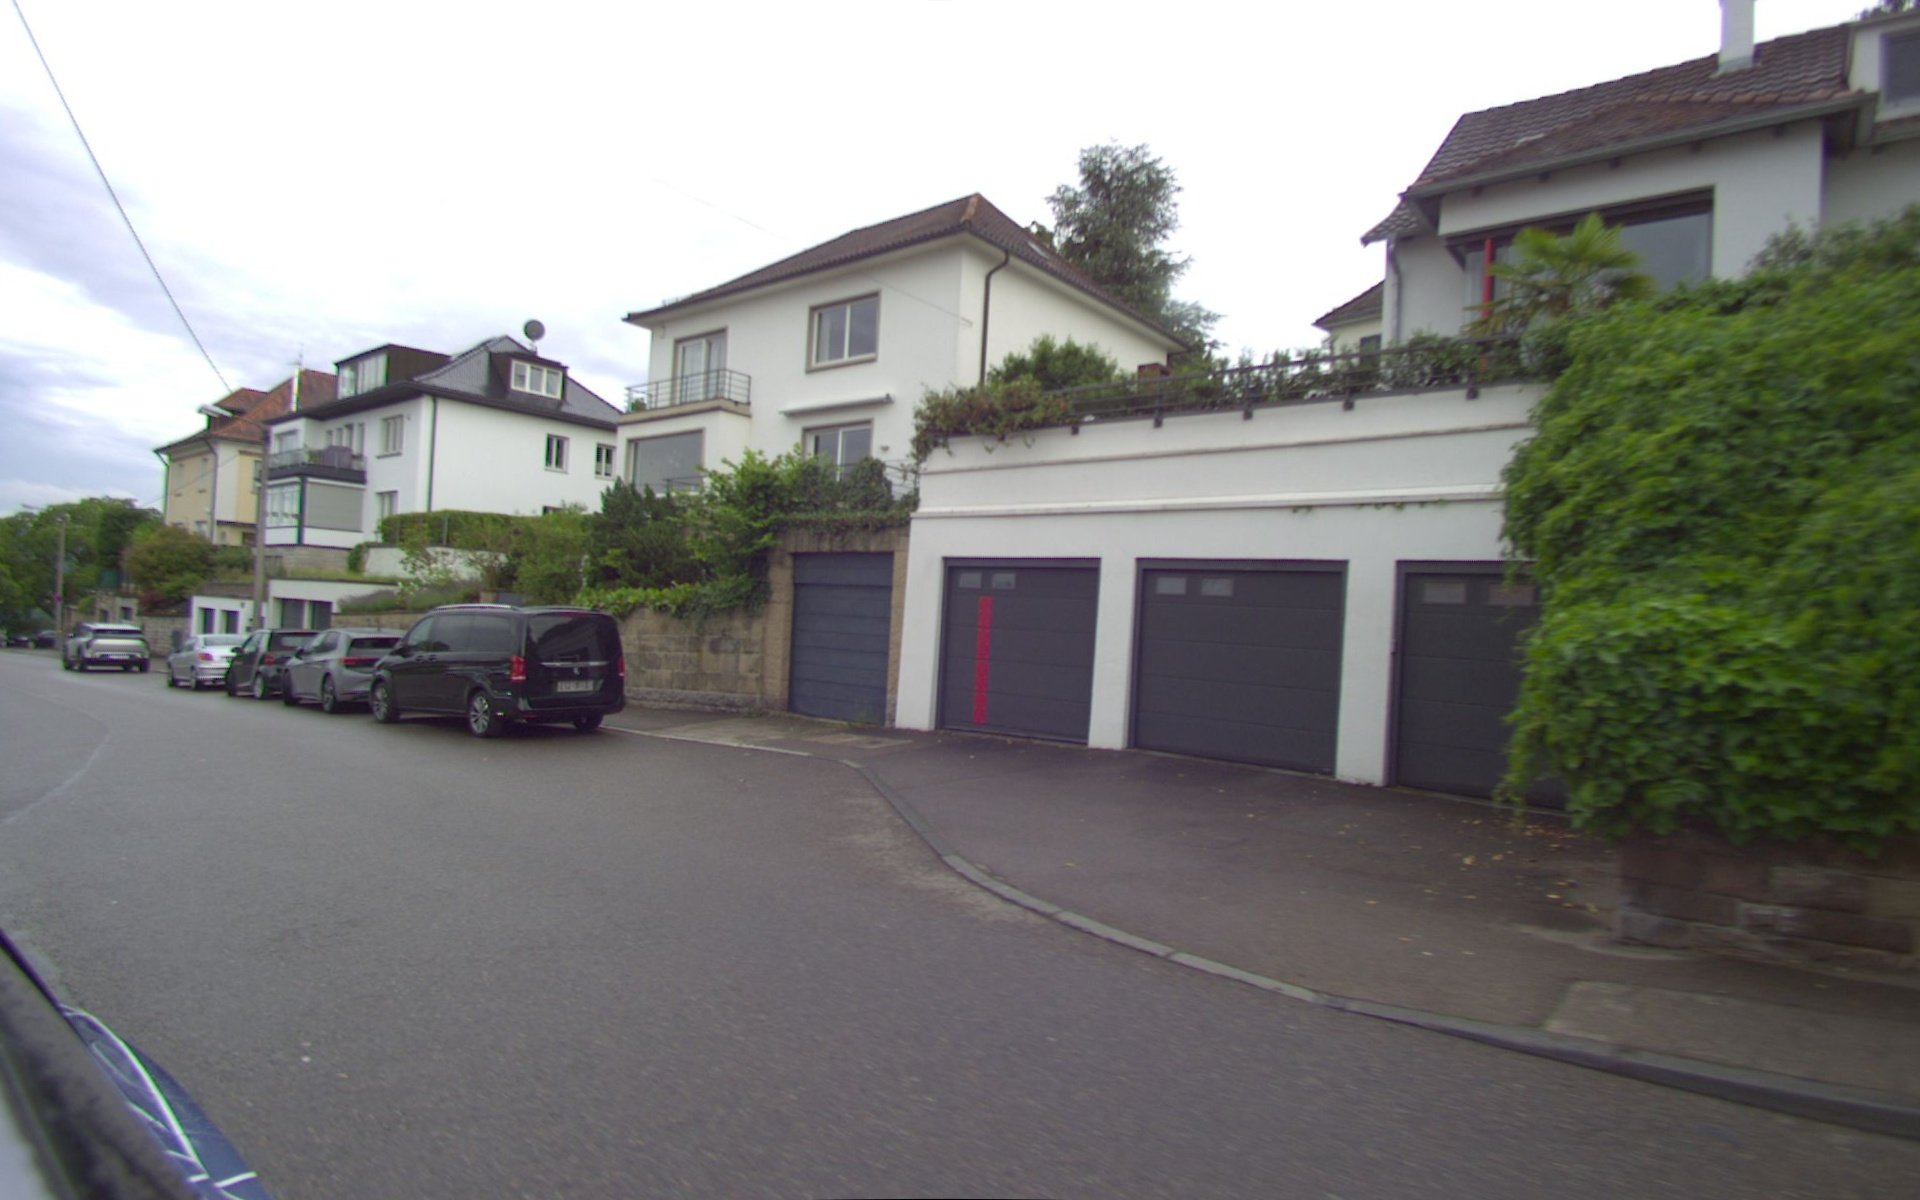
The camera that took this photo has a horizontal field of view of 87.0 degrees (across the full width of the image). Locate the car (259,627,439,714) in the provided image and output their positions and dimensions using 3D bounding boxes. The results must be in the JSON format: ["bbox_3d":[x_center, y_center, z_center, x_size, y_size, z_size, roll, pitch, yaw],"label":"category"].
[{"bbox_3d":[-11.974,1.283,19.720,4.399,1.502,1.675,-1,-1,40],"label":"car"}]

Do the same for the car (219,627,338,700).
[{"bbox_3d":[-15.332,1.370,22.746,2.892,1.502,1.502,-1,-1,40],"label":"car"}]

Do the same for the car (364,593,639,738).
[{"bbox_3d":[-7.338,0.945,16.002,4.767,1.972,1.975,-1,-2,38],"label":"car"}]

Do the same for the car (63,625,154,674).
[{"bbox_3d":[-28.485,1.617,33.819,4.000,1.512,1.844,-1,-2,43],"label":"car"}]

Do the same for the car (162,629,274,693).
[{"bbox_3d":[-18.846,1.489,25.679,3.435,1.502,1.573,-1,-1,41],"label":"car"}]
